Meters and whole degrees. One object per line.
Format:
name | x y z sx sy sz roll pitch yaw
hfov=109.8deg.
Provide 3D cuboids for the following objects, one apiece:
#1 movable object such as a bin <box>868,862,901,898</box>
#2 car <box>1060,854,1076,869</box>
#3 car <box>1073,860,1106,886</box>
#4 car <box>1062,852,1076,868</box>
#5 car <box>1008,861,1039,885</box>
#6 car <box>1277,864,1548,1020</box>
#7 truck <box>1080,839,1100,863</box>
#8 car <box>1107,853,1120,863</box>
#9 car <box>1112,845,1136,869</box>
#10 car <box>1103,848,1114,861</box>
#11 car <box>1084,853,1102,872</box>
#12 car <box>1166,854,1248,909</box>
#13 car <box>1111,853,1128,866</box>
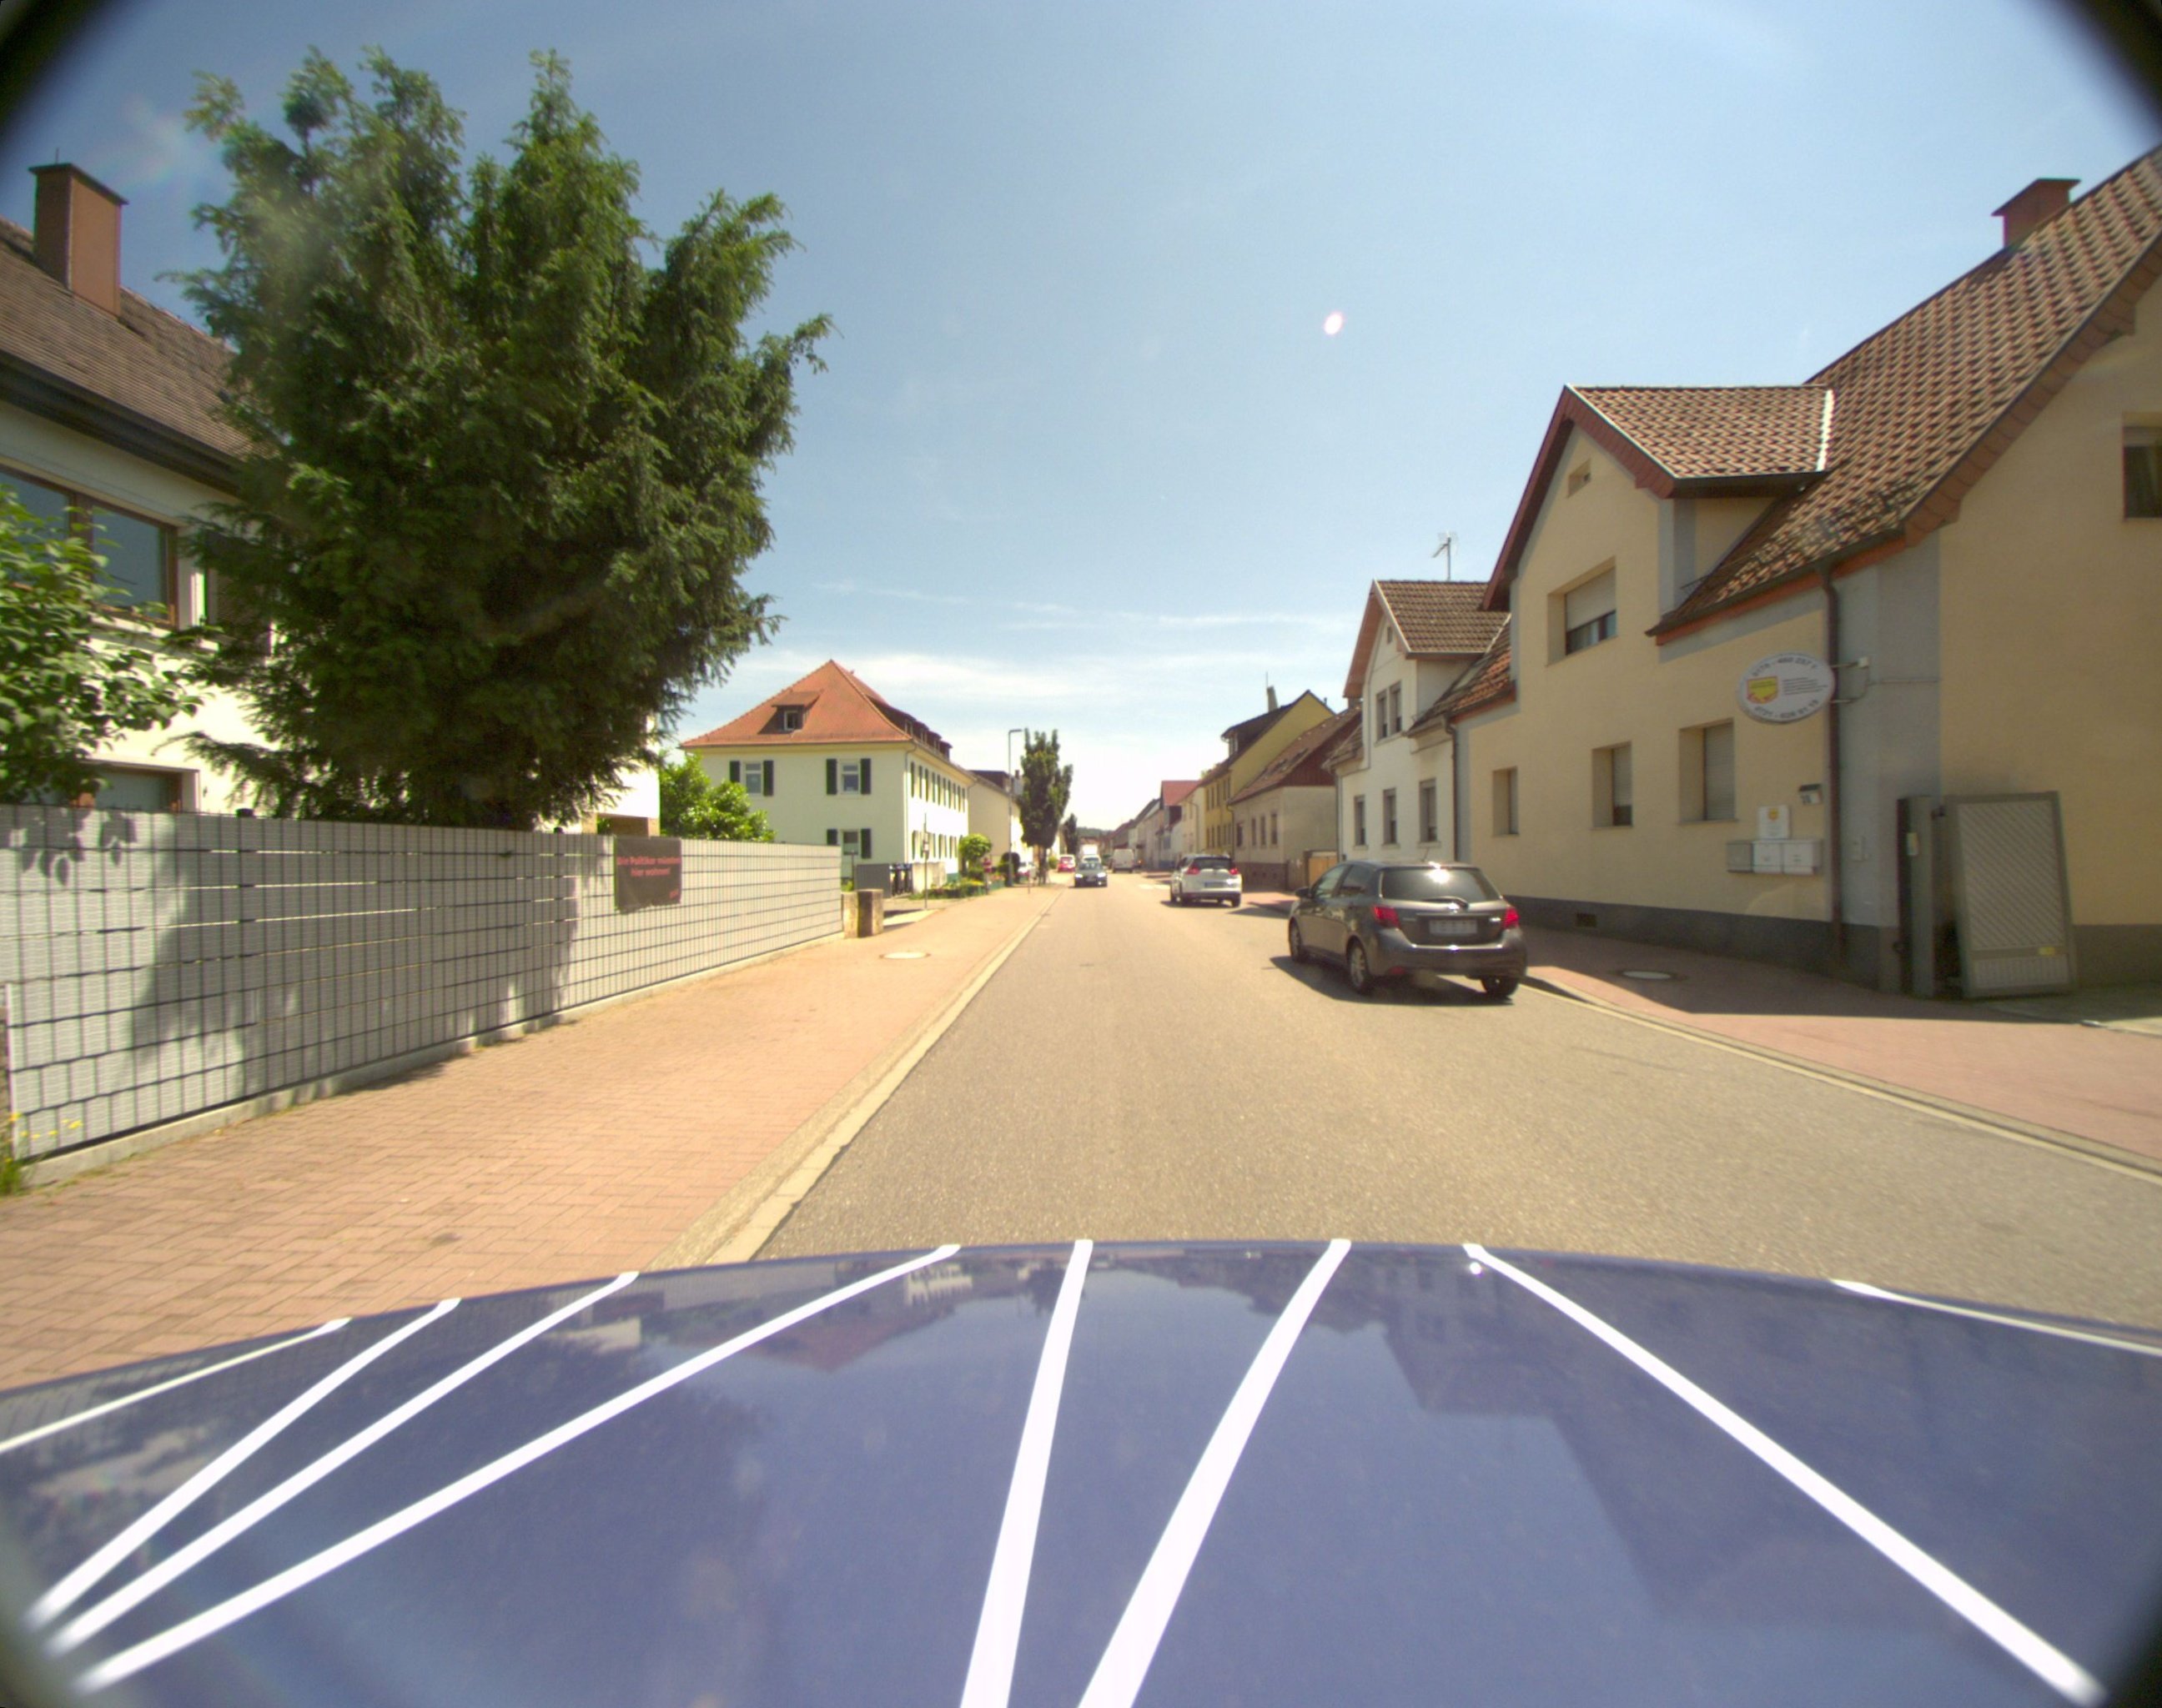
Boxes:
movable object such as a bin | -8.215 1.067 31.811 1.052 1.422 0.901 -4 1 3
car | -1.384 0.808 83.246 1.636 1.572 3.570 1 0 1
car | 0.512 1.029 42.394 1.705 1.346 4.000 -2 0 1
car | -1.409 0.727 90.705 1.636 1.833 3.569 1 0 0
car | -4.035 1.297 53.861 1.509 1.521 4.437 -3 0 3
car | 3.777 0.896 9.480 1.680 1.450 3.928 1 0 1
truck | 1.490 -0.458 121.006 2.898 3.516 12.954 -1 0 1
car | 5.331 0.632 125.990 1.983 1.507 4.251 0 0 1
car | 4.532 0.319 80.749 2.115 2.517 4.914 1 0 0
car | 5.111 0.112 142.421 1.983 2.502 4.251 1 0 1
car | 1.184 0.833 74.211 1.636 1.833 3.570 -1 0 2
car | 3.978 0.806 24.693 1.878 1.594 4.431 1 0 0
car | 4.974 0.701 98.783 1.982 1.624 4.251 1 0 2
